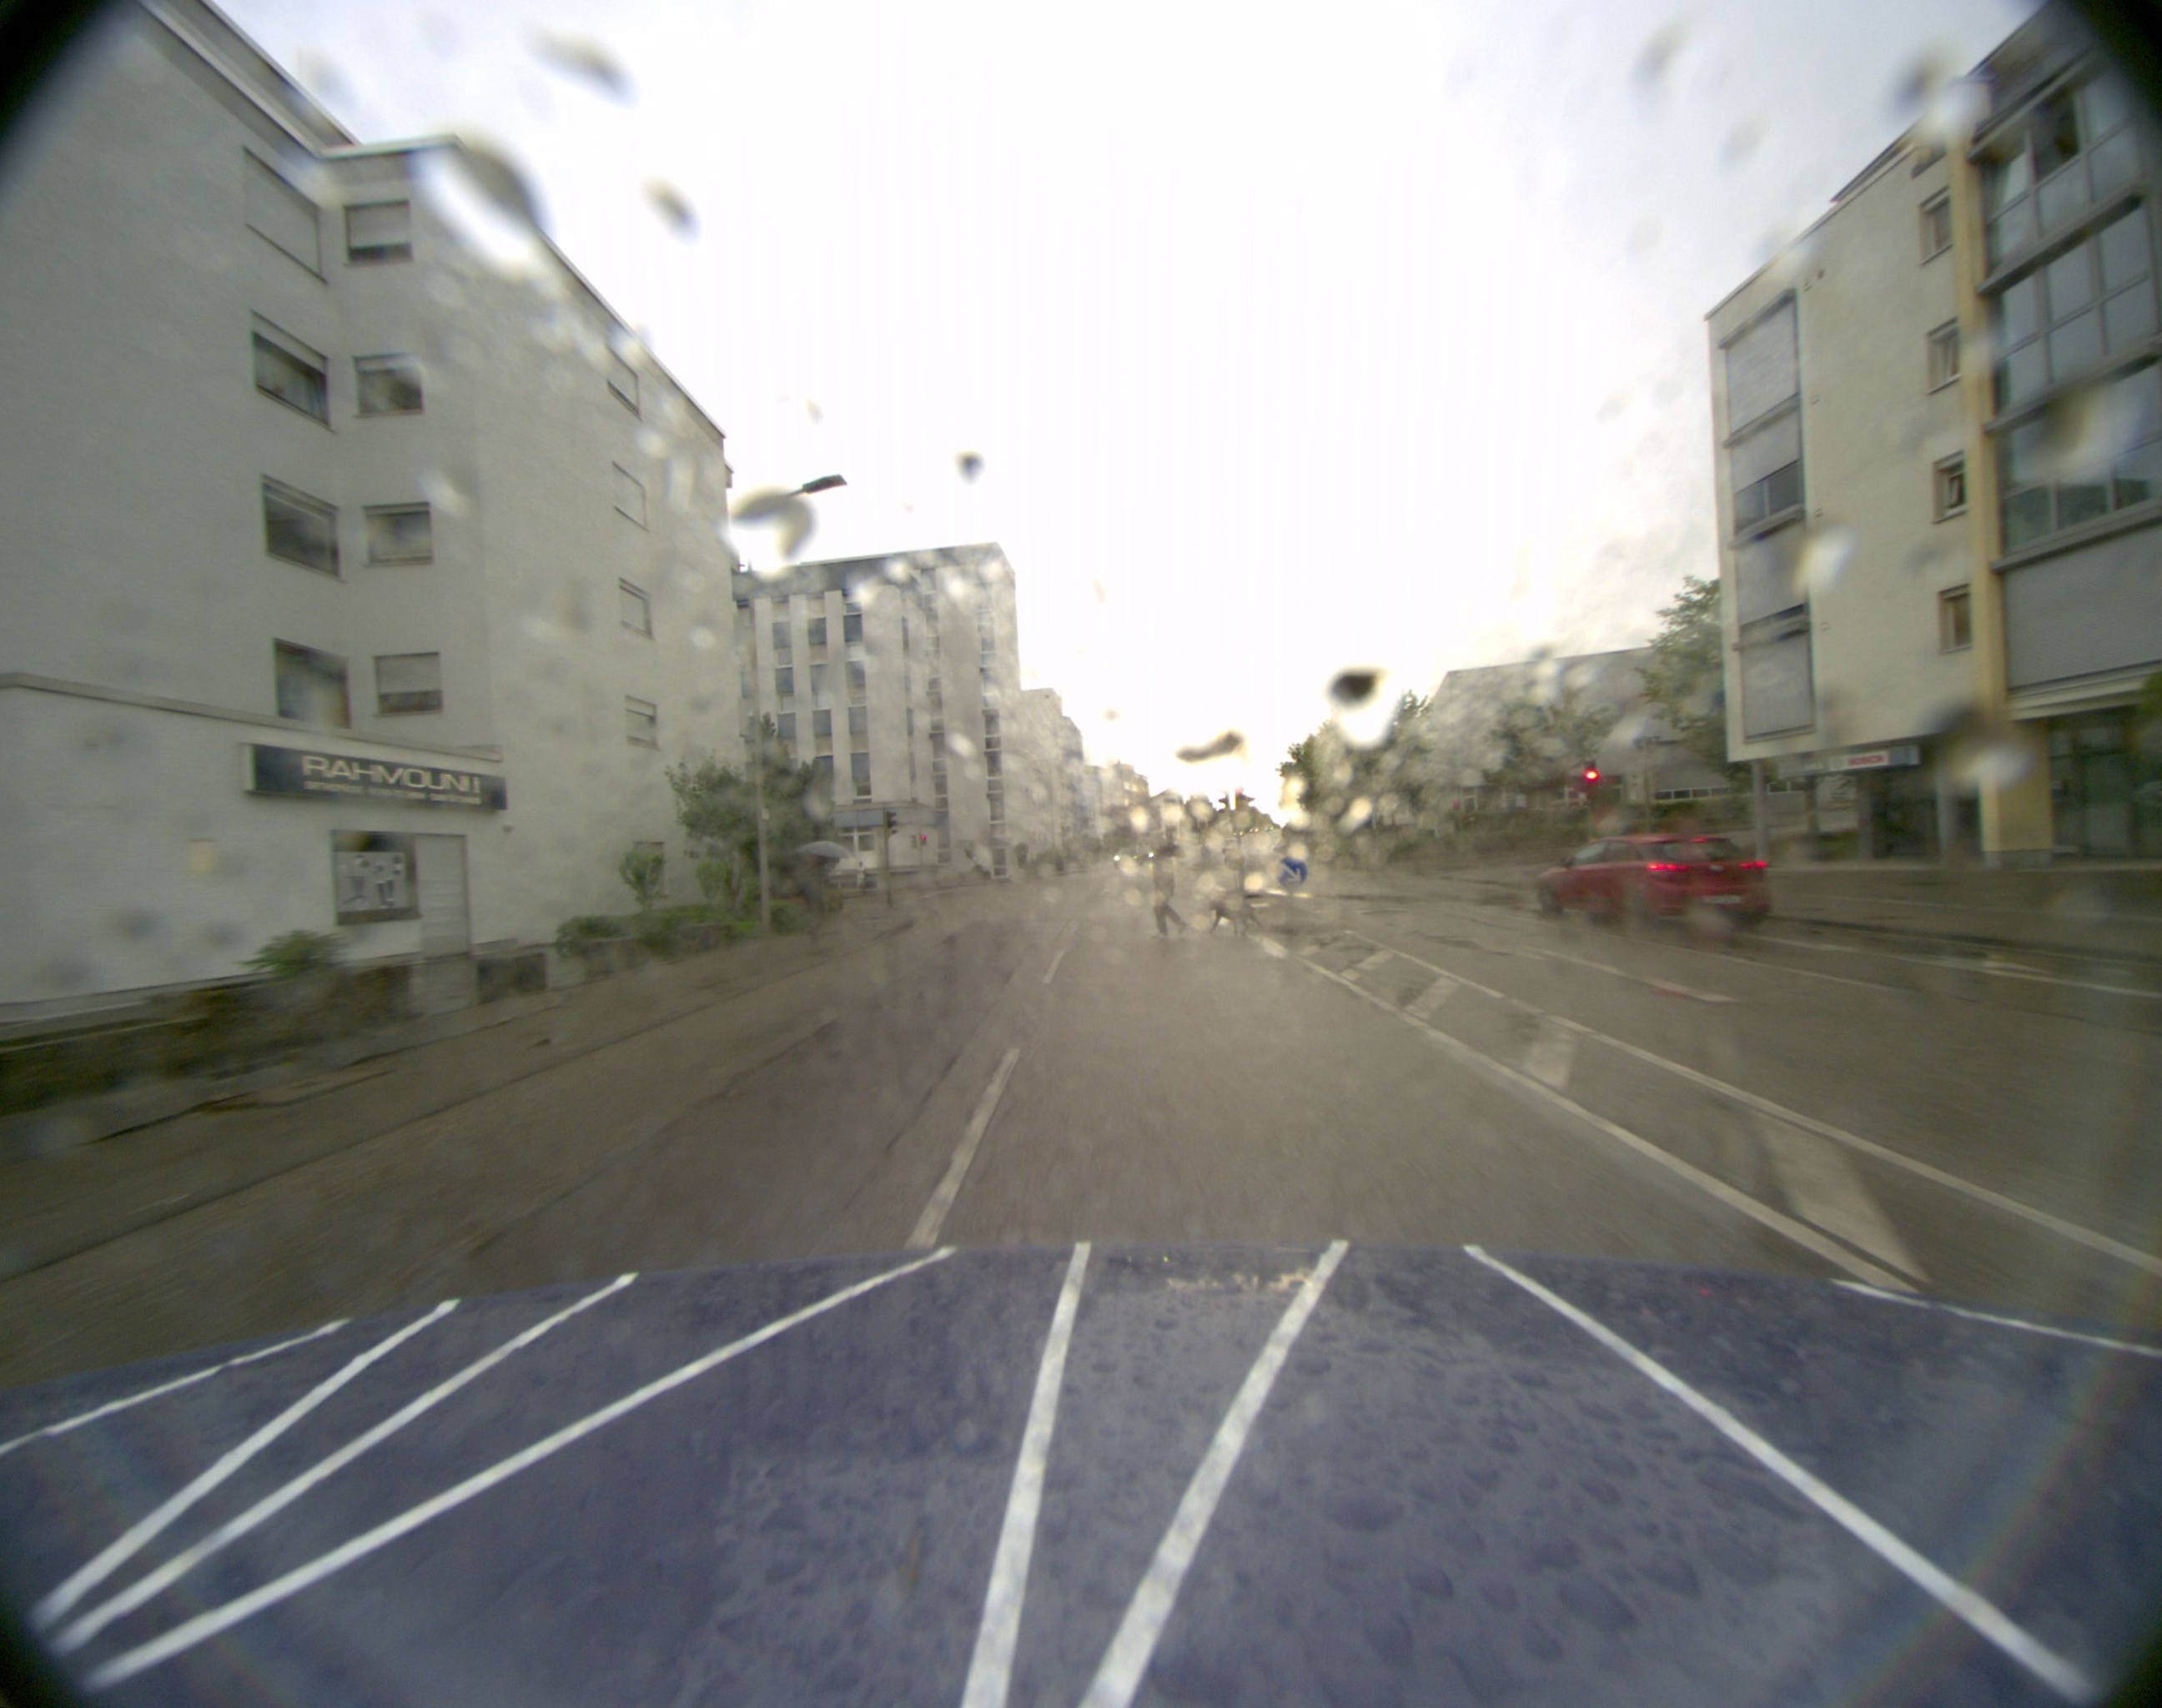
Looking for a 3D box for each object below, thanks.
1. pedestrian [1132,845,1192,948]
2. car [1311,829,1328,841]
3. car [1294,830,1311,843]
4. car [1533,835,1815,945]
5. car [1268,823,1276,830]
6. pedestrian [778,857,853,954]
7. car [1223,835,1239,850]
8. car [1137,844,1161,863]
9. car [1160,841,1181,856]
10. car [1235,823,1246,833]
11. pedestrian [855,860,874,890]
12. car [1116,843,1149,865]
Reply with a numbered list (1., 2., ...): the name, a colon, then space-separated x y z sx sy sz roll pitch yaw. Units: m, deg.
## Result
1. pedestrian: 1.429 0.722 13.310 0.667 1.692 0.948 -4 1 23
2. car: 30.252 -2.418 96.277 1.734 1.470 4.025 -4 1 20
3. car: 28.181 -2.227 96.602 1.734 1.470 4.025 -4 1 20
4. car: 9.390 0.469 12.542 1.779 1.498 4.105 -1 1 6
5. car: 50.103 -7.235 199.127 1.827 1.677 4.004 -3 1 16
6. pedestrian: -4.646 0.874 13.382 0.754 1.559 0.993 -5 1 5
7. car: 17.740 -1.407 89.632 1.692 1.546 3.909 -5 1 12
8. car: 6.074 -0.054 67.727 1.752 1.470 4.002 -4 1 10
9. car: 10.007 -0.624 84.886 1.897 1.535 4.024 -4 1 12
10. car: 34.653 -5.631 165.036 1.997 2.002 4.003 -7 1 15
11. pedestrian: -12.508 1.235 43.921 0.645 1.642 0.656 -7 1 5
12. car: 3.942 -0.049 57.484 1.739 1.477 4.153 -3 1 14
